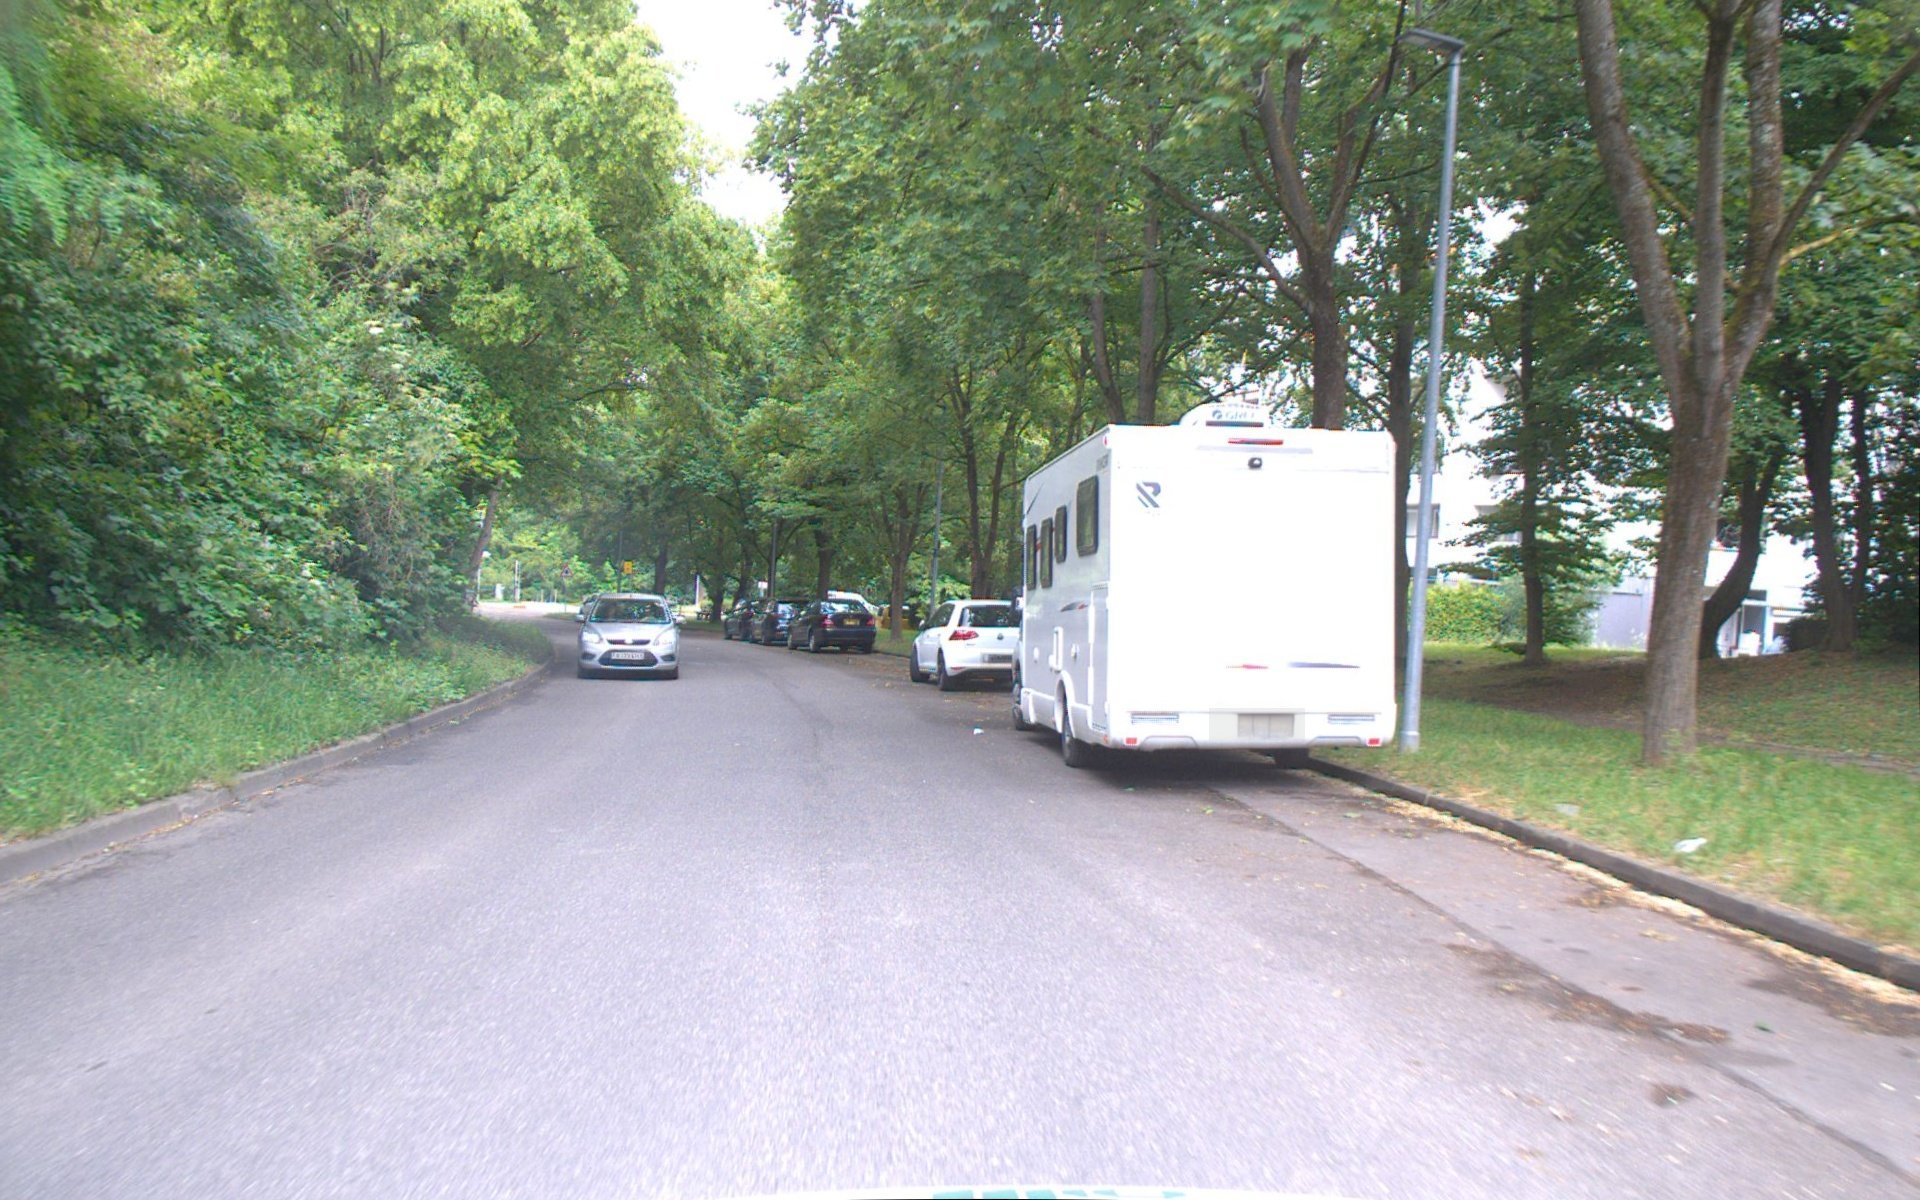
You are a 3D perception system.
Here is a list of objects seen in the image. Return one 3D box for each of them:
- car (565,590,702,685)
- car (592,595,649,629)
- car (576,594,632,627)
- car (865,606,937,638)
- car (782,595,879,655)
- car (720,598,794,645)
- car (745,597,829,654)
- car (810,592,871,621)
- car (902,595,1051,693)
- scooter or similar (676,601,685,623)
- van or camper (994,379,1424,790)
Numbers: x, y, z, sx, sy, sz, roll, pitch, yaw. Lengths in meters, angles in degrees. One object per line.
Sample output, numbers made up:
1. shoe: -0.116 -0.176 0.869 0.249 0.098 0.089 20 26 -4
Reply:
1. car: -5.740 0.629 29.495 1.758 1.534 3.998 2 0 -3
2. car: -16.602 0.559 80.825 1.752 1.549 4.149 2 0 -25
3. car: -18.048 0.521 83.823 1.755 1.549 3.744 2 0 -29
4. car: -3.842 1.460 107.942 4.327 1.881 1.823 2 0 -18
5. car: -3.553 0.643 44.751 1.565 1.491 4.293 2 0 -19
6. car: -6.913 0.701 55.936 1.657 1.490 3.875 2 0 -20
7. car: -5.366 0.753 50.833 1.881 1.640 4.716 2 0 -14
8. car: -9.075 0.511 125.424 4.146 2.049 1.987 2 0 -22
9. car: 0.206 0.695 28.130 1.659 1.508 4.094 2 0 -12
10. scooter or similar: -17.263 0.740 102.190 0.279 1.309 1.100 2 0 -24
11. van or camper: 1.972 -0.097 16.143 2.377 3.032 7.384 2 0 -5
